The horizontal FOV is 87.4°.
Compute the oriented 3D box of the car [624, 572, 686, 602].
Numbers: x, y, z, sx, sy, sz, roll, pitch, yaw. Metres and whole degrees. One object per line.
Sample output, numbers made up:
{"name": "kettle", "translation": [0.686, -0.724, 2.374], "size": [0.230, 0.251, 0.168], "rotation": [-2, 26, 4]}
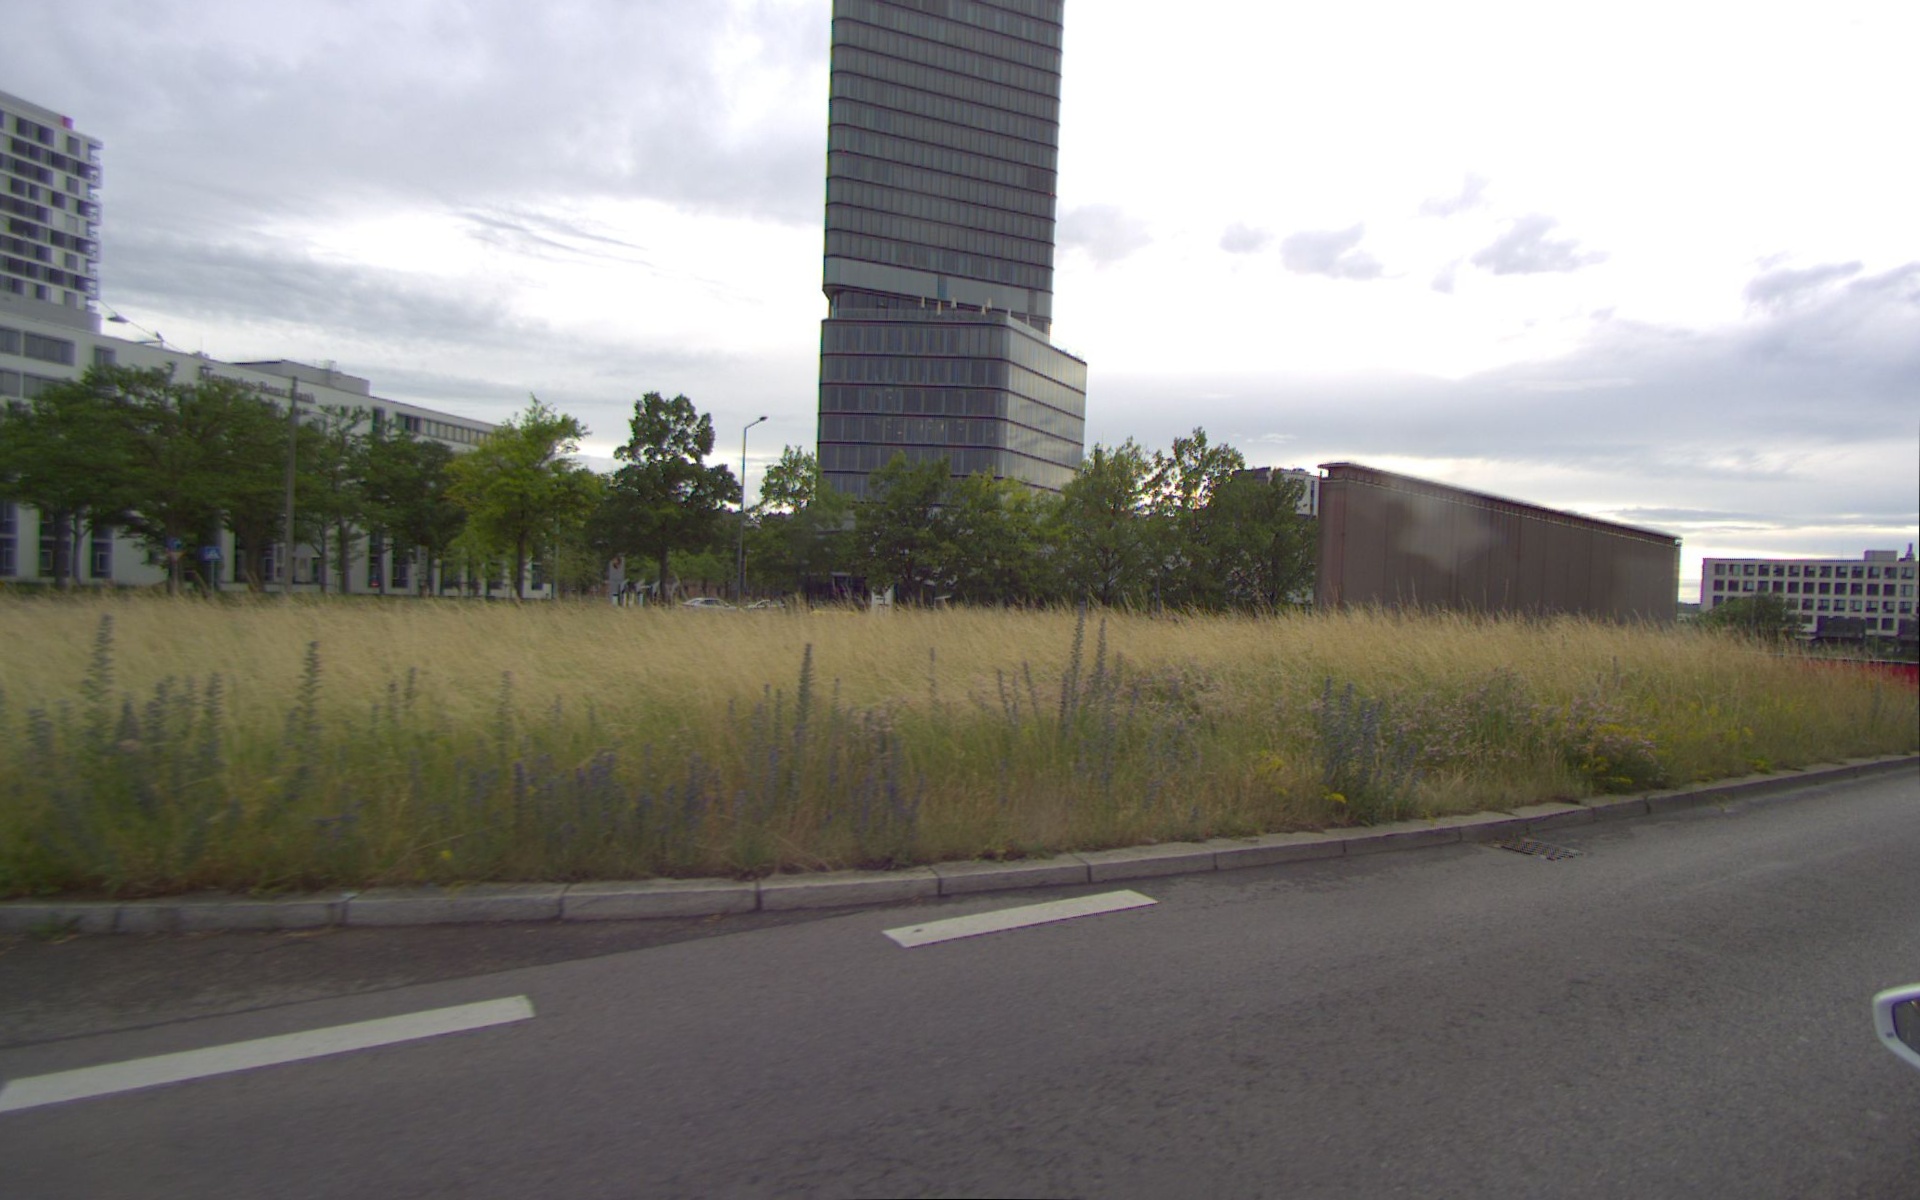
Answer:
{"name": "car", "translation": [-22.963, -0.969, 75.608], "size": [3.967, 2.041, 1.977], "rotation": [1, 3, -40]}

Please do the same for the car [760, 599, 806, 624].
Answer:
{"name": "car", "translation": [-16.299, 1.021, 92.407], "size": [3.933, 2.041, 1.994], "rotation": [2, 3, -15]}

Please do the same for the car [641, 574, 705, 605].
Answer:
{"name": "car", "translation": [-20.998, -0.765, 73.501], "size": [3.967, 2.041, 1.977], "rotation": [1, 3, -40]}

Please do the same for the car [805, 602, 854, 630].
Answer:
{"name": "car", "translation": [-10.900, 1.294, 83.776], "size": [3.928, 2.041, 1.996], "rotation": [3, 3, -10]}

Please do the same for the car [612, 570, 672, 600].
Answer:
{"name": "car", "translation": [-24.576, -1.152, 77.661], "size": [3.967, 2.041, 1.977], "rotation": [1, 3, -40]}

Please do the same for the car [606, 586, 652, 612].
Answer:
{"name": "car", "translation": [-26.640, -0.103, 80.975], "size": [1.960, 1.874, 4.001], "rotation": [3, 3, 6]}

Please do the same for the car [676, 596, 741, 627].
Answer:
{"name": "car", "translation": [-17.891, 0.827, 71.467], "size": [3.968, 2.041, 1.976], "rotation": [1, 3, -41]}
